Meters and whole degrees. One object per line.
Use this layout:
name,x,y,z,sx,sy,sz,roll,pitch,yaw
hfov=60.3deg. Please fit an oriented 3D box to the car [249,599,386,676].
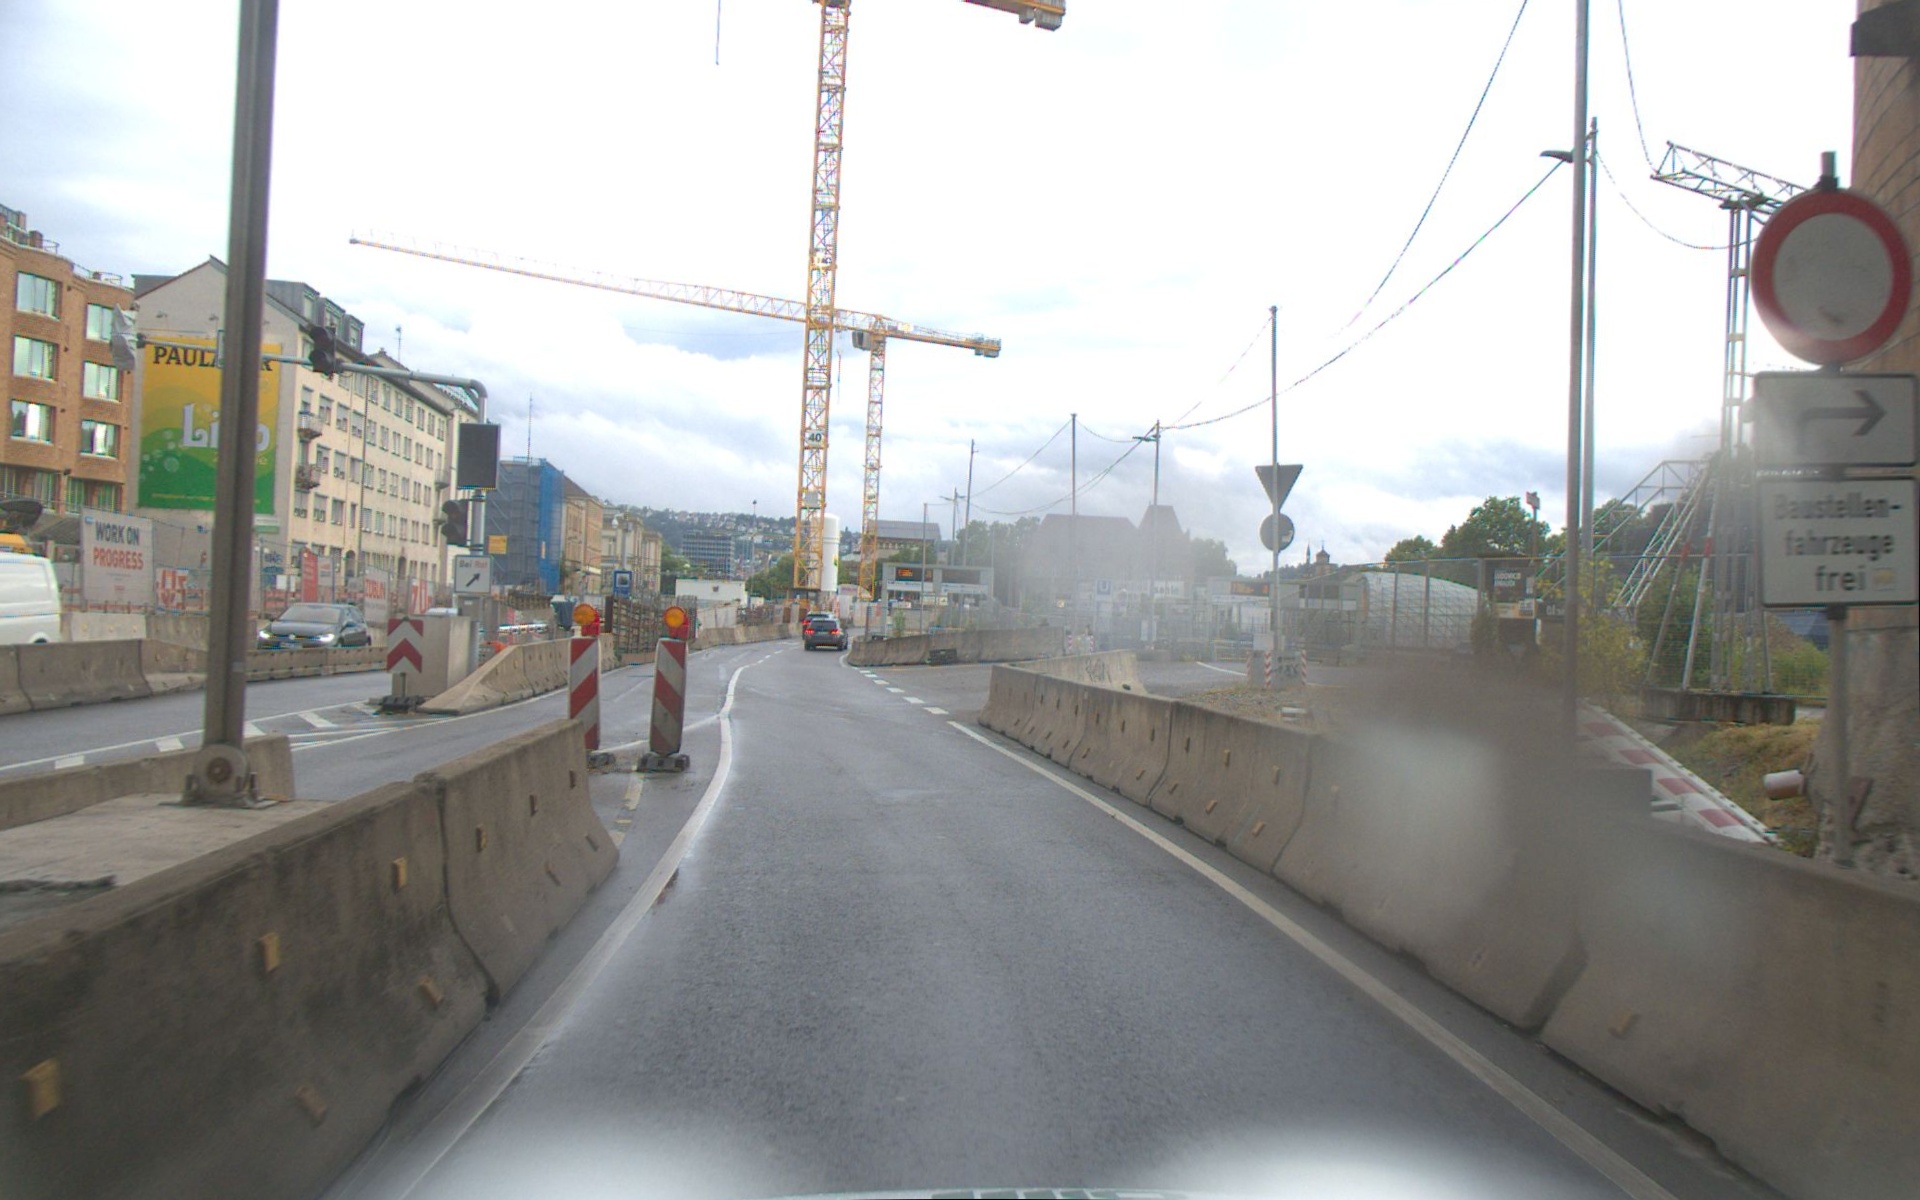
car,-15.015,0.829,38.886,1.770,1.651,4.031,2,0,-3

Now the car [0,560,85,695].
car,-13.964,0.344,22.225,1.770,1.853,5.297,2,0,-3

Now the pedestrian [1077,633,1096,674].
pedestrian,5.730,2.416,74.686,0.676,1.809,1.022,2,-2,-4

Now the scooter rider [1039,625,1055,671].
scooter rider,3.456,1.908,65.604,0.510,1.786,0.700,1,-1,12

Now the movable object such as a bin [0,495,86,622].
movable object such as a bin,-19.082,-0.743,32.537,1.988,2.317,4.284,-1,-1,-8

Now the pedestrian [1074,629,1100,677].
pedestrian,4.815,2.022,62.877,0.680,1.809,0.810,2,-2,-22

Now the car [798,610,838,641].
car,-8.365,1.515,97.676,1.824,1.690,4.656,3,-1,1

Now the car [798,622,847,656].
car,-6.402,1.822,77.257,1.825,1.458,4.655,2,-1,0
